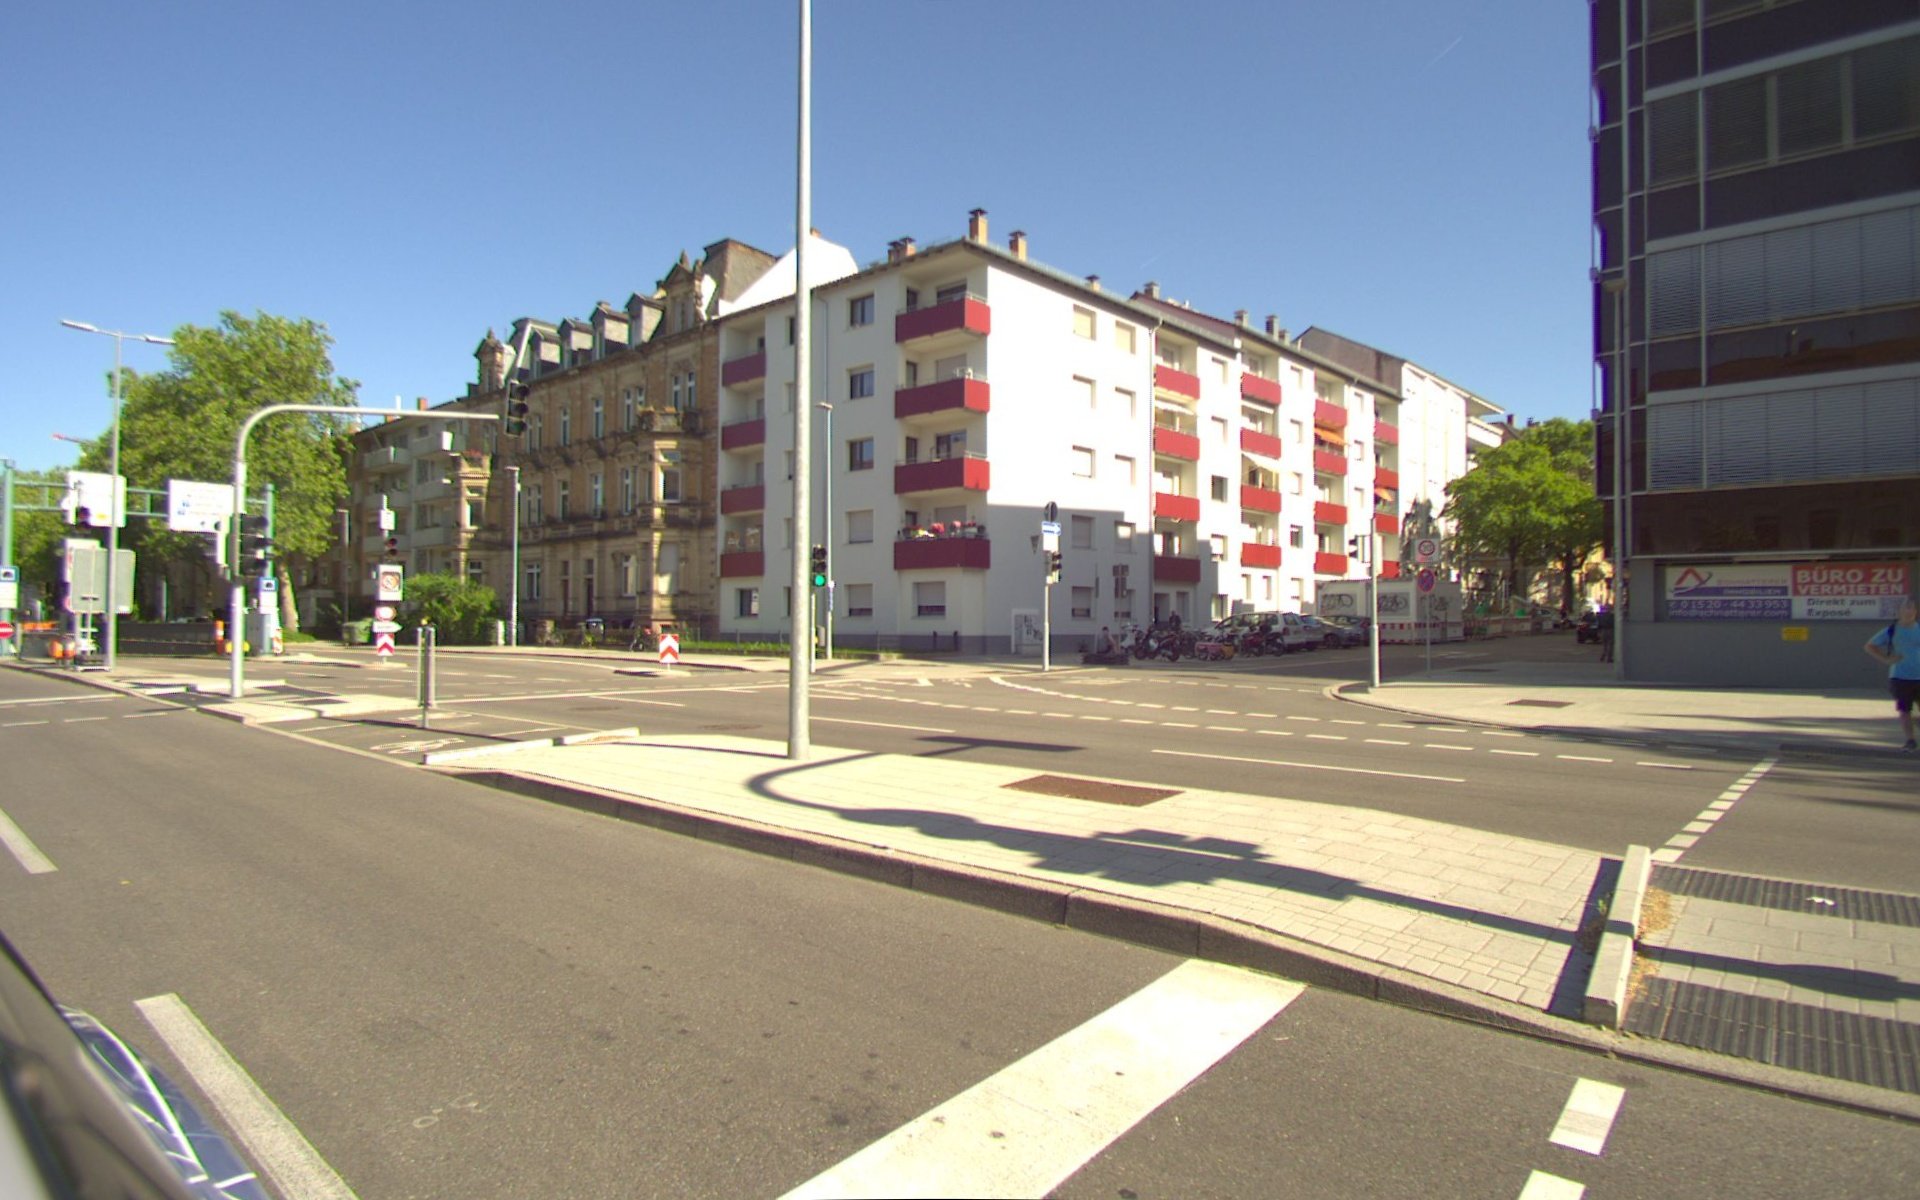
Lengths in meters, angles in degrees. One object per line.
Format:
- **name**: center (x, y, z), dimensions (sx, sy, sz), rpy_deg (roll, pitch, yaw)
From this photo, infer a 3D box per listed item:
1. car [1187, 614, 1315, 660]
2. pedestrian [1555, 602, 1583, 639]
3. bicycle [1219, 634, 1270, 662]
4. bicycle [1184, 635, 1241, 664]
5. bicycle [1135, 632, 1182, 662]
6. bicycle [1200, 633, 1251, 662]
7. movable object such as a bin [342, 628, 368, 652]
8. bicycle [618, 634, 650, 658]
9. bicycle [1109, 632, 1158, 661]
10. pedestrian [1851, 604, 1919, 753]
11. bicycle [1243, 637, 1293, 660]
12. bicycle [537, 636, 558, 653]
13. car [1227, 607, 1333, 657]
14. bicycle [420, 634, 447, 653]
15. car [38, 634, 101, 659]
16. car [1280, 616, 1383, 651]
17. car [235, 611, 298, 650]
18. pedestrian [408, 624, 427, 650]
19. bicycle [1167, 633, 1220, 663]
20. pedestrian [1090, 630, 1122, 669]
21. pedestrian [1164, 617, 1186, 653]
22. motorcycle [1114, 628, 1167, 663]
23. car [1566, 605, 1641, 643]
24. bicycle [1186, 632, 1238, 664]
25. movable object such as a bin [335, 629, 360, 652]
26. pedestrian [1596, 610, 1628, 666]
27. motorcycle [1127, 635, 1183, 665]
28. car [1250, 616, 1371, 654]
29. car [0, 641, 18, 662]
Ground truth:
- **car**: center (11.403, 1.435, 39.923), dimensions (1.970, 1.744, 4.483), rpy_deg (1, -2, -43)
- **pedestrian**: center (34.368, 1.165, 57.136), dimensions (1.149, 2.029, 1.436), rpy_deg (-1, -2, 39)
- **bicycle**: center (10.172, 1.701, 36.222), dimensions (1.723, 0.955, 0.453), rpy_deg (-1, -2, 43)
- **bicycle**: center (8.461, 1.651, 34.008), dimensions (0.471, 0.955, 1.954), rpy_deg (1, -2, -40)
- **bicycle**: center (7.412, 1.733, 37.751), dimensions (0.567, 1.066, 1.691), rpy_deg (1, -2, -44)
- **bicycle**: center (9.392, 1.677, 35.808), dimensions (0.502, 1.011, 1.737), rpy_deg (1, -2, -44)
- **movable object such as a bin**: center (-36.293, 2.407, 60.685), dimensions (1.473, 1.371, 0.883), rpy_deg (-3, -5, 42)
- **bicycle**: center (-13.574, 1.900, 42.164), dimensions (1.939, 0.965, 0.301), rpy_deg (-2, -2, 41)
- **bicycle**: center (6.209, 1.658, 36.341), dimensions (0.567, 0.976, 1.737), rpy_deg (1, -2, -44)
- **pedestrian**: center (11.350, 0.914, 12.027), dimensions (0.854, 1.724, 1.013), rpy_deg (1, -3, -42)
- **bicycle**: center (11.171, 1.745, 36.725), dimensions (1.709, 0.820, 0.412), rpy_deg (-1, -2, 17)
- **bicycle**: center (-19.166, 2.064, 47.006), dimensions (1.413, 0.777, 0.296), rpy_deg (-2, -2, 41)
- **car**: center (13.079, 1.295, 41.455), dimensions (3.794, 1.970, 1.678), rpy_deg (-1, -2, 44)
- **bicycle**: center (-28.515, 2.353, 54.804), dimensions (2.247, 1.013, 0.462), rpy_deg (-2, -1, 39)
- **car**: center (-50.279, 2.628, 57.129), dimensions (4.310, 1.356, 1.912), rpy_deg (-3, -3, 38)
- **car**: center (16.740, 1.503, 45.681), dimensions (4.000, 1.473, 1.823), rpy_deg (-2, -2, 43)
- **car**: center (-47.001, 2.091, 68.551), dimensions (5.284, 2.465, 2.221), rpy_deg (-3, -5, 41)
- **pedestrian**: center (-29.275, 1.977, 54.618), dimensions (1.089, 1.388, 0.561), rpy_deg (-2, -2, 39)
- **bicycle**: center (7.795, 1.591, 33.850), dimensions (0.500, 0.985, 1.890), rpy_deg (1, -2, -33)
- **pedestrian**: center (4.444, 1.495, 30.779), dimensions (0.785, 1.162, 0.712), rpy_deg (-1, -2, 28)
- **pedestrian**: center (9.100, 1.491, 42.785), dimensions (0.695, 1.508, 0.593), rpy_deg (-2, -2, 44)
- **motorcycle**: center (6.159, 1.544, 34.540), dimensions (0.604, 1.150, 1.786), rpy_deg (1, -2, -40)
- **car**: center (28.636, 1.039, 44.973), dimensions (2.001, 1.614, 3.941), rpy_deg (-2, -2, 45)
- **bicycle**: center (8.711, 1.655, 34.995), dimensions (1.736, 1.077, 0.483), rpy_deg (-2, -2, 43)
- **movable object such as a bin**: center (-37.307, 2.456, 61.640), dimensions (1.313, 1.373, 0.884), rpy_deg (-3, -5, 40)
- **pedestrian**: center (19.487, 1.131, 30.256), dimensions (0.700, 1.670, 0.737), rpy_deg (-2, -2, 38)
- **motorcycle**: center (6.345, 1.621, 32.953), dimensions (0.497, 0.943, 1.844), rpy_deg (1, -2, -42)
- **car**: center (15.009, 1.497, 43.507), dimensions (4.575, 1.541, 1.739), rpy_deg (-2, -2, 43)
- **car**: center (-72.542, 3.867, 75.945), dimensions (4.383, 1.464, 1.975), rpy_deg (-1, -2, 37)
